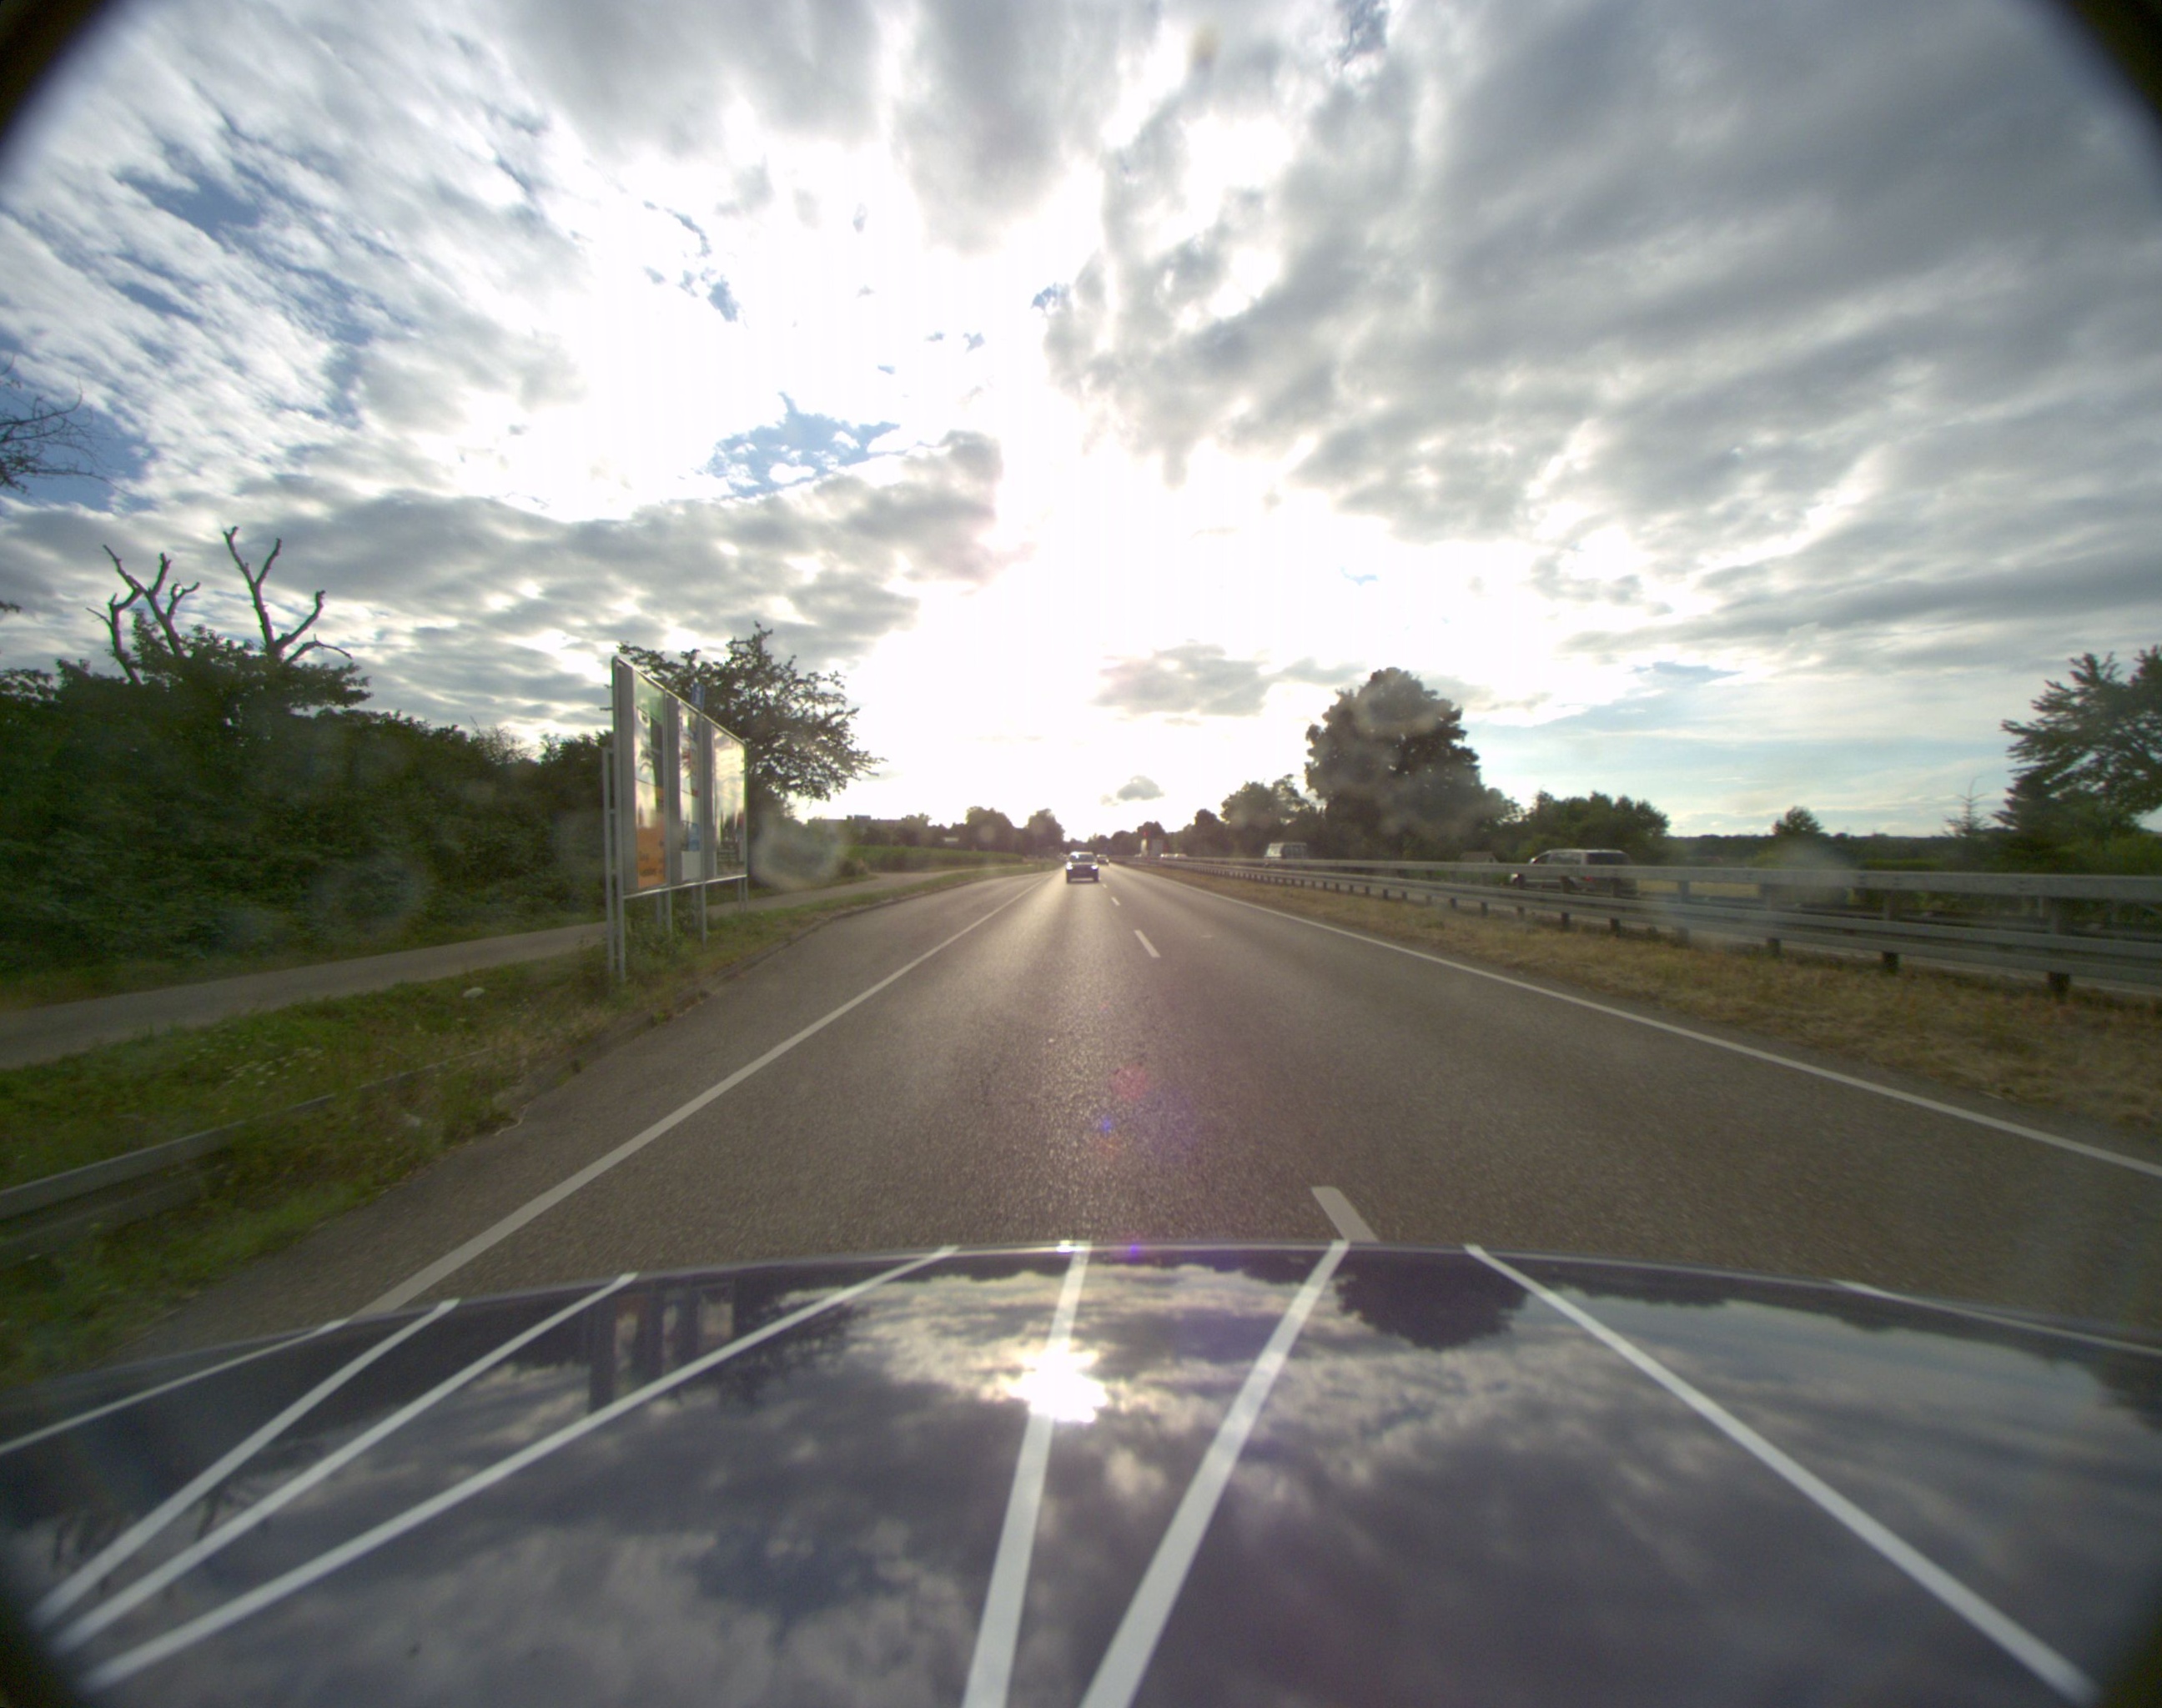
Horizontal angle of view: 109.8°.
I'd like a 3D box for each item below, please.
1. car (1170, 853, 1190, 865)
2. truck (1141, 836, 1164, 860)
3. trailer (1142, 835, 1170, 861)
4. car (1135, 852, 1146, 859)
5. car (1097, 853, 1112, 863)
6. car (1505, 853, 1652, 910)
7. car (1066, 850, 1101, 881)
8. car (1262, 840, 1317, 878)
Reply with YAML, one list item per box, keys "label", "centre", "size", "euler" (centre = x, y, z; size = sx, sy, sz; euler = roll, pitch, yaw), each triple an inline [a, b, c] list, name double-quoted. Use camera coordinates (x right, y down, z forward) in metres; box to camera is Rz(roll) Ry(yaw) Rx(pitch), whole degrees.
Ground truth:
- label: "car"
  centre: [12.181, 0.611, 93.897]
  size: [1.871, 1.469, 4.935]
  euler: [0, 0, 0]
- label: "truck"
  centre: [12.637, -1.057, 135.364]
  size: [3.483, 4.126, 6.049]
  euler: [1, 0, 0]
- label: "trailer"
  centre: [12.600, -1.011, 129.168]
  size: [3.474, 4.126, 13.915]
  euler: [1, 0, 0]
- label: "car"
  centre: [12.643, 0.375, 162.606]
  size: [1.912, 1.420, 5.152]
  euler: [0, 0, 0]
- label: "car"
  centre: [3.227, 0.601, 104.526]
  size: [1.998, 1.320, 4.000]
  euler: [1, 0, 2]
- label: "car"
  centre: [15.626, 0.802, 24.181]
  size: [1.802, 1.616, 4.483]
  euler: [1, 0, 2]
- label: "car"
  centre: [0.111, 0.637, 44.274]
  size: [1.849, 1.640, 4.480]
  euler: [-2, 0, 0]
- label: "car"
  centre: [12.483, 0.253, 45.908]
  size: [1.998, 2.128, 5.319]
  euler: [1, 0, 2]
